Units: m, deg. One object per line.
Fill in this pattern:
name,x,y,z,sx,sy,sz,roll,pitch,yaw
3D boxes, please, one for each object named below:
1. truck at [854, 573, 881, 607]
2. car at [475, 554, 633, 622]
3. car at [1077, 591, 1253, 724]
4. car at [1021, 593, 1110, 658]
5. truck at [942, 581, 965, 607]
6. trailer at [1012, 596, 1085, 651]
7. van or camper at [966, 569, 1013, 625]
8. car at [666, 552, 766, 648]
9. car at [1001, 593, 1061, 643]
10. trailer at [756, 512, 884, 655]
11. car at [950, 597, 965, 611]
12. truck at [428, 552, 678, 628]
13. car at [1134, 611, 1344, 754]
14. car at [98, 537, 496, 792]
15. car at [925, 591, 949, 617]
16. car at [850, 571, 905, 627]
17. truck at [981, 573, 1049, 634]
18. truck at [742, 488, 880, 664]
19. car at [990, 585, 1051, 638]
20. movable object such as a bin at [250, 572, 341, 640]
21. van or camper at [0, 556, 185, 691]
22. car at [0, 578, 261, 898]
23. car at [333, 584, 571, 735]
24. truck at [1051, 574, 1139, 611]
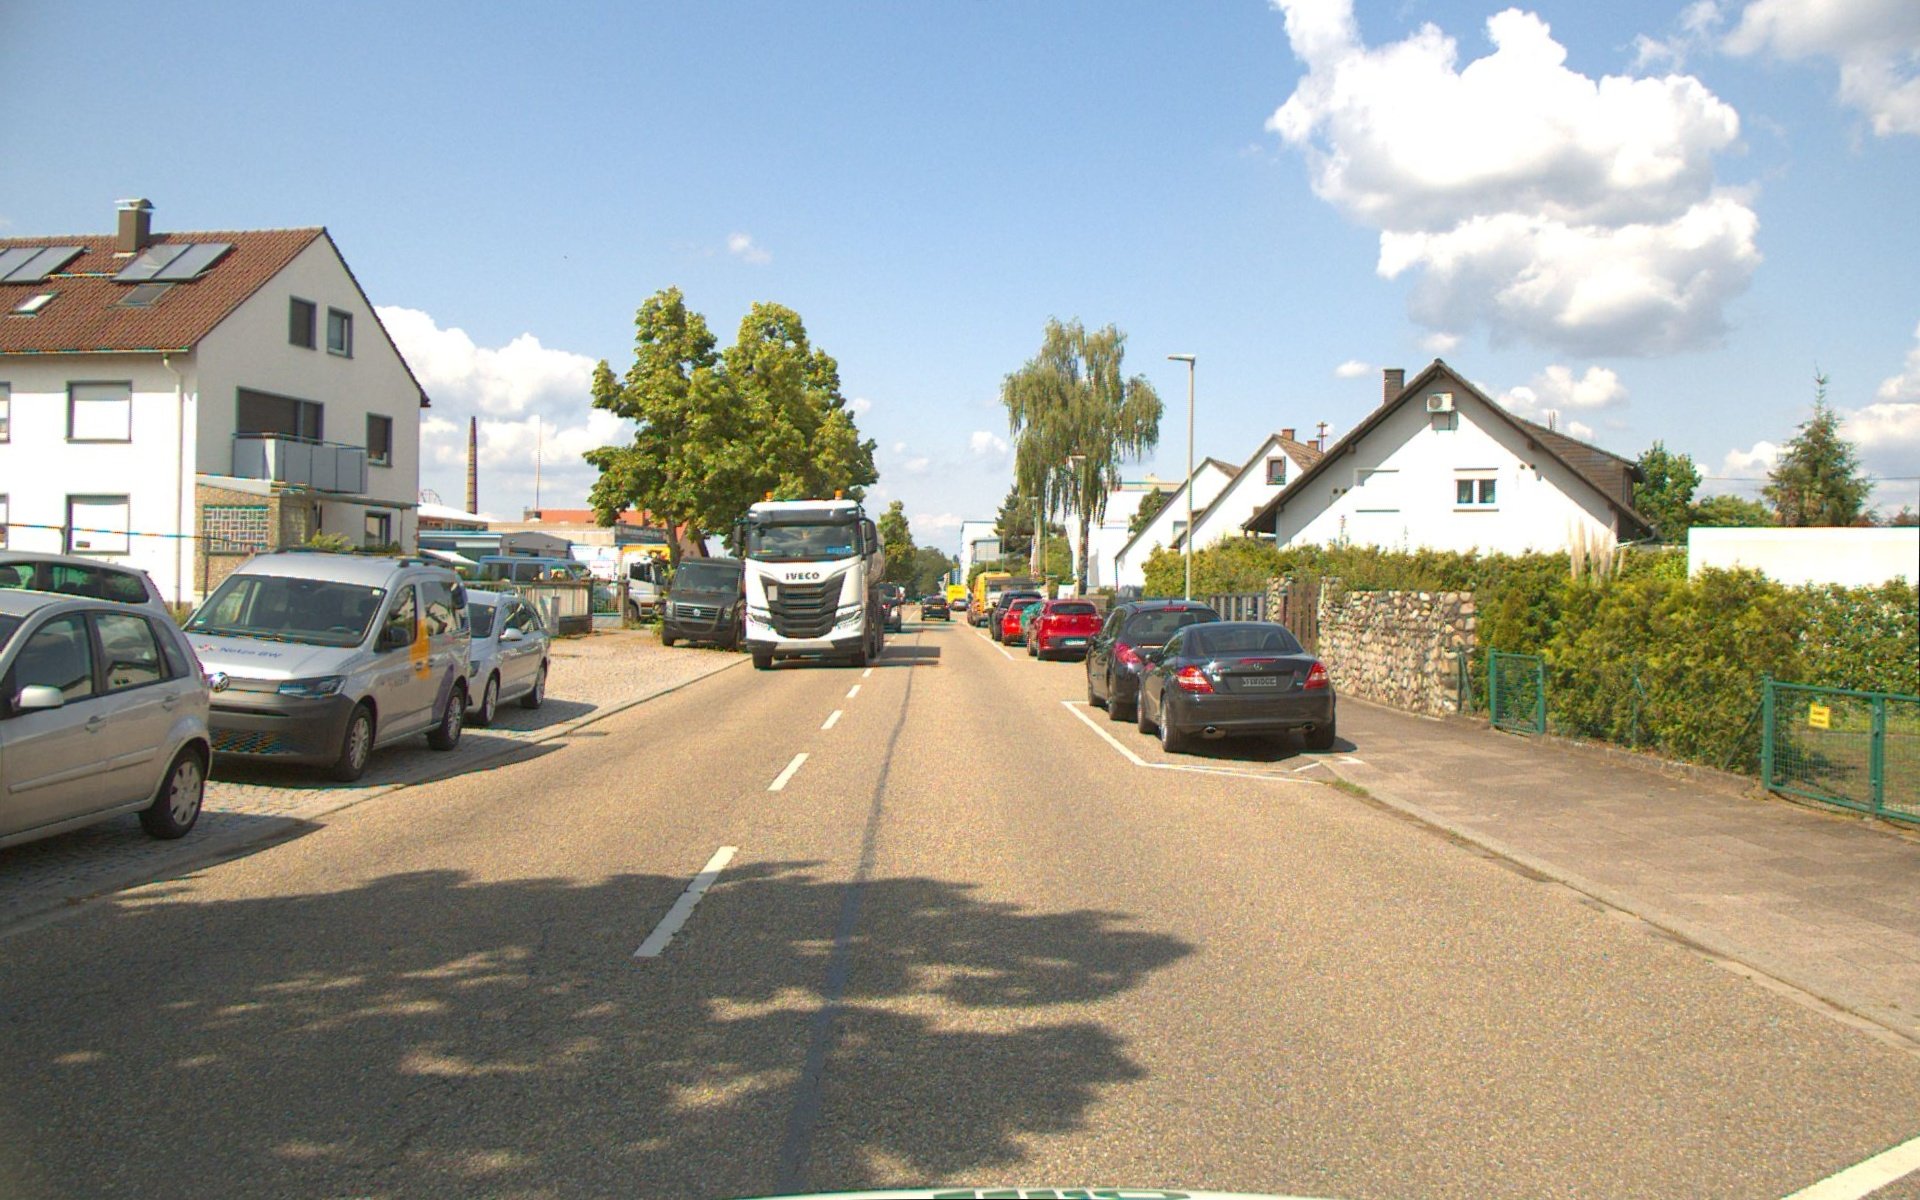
truck,-8.297,-0.904,148.769,2.223,2.904,7.171,2,0,-2
car,-13.984,-0.409,57.077,4.894,2.270,2.002,1,-1,12
car,2.718,0.713,22.787,1.709,1.578,4.120,2,0,-2
car,2.553,0.582,41.067,1.657,1.488,4.753,1,0,-3
truck,-0.862,-0.757,199.920,2.425,2.991,7.185,2,0,-2
trailer,2.404,0.607,45.682,1.576,1.402,4.430,1,0,-2
van or camper,1.451,-0.184,83.741,1.954,2.710,5.766,0,0,-3
car,-6.295,-0.041,43.088,2.126,2.299,3.998,2,1,-3
car,2.161,0.525,51.161,1.650,1.460,4.146,1,0,0
trailer,-3.323,-0.378,40.633,2.778,3.122,8.884,0,0,-3
car,-0.274,0.452,188.303,1.618,1.411,4.422,2,1,-1
truck,-15.834,-0.404,64.703,9.064,2.906,2.722,0,0,3
car,2.975,0.828,18.355,1.675,1.341,3.963,0,1,0
car,-5.688,0.476,14.877,1.773,1.837,4.489,4,0,-2
car,-1.384,0.254,100.712,1.398,1.545,3.017,0,0,0
car,-3.188,-0.054,64.781,2.009,2.070,5.140,-1,0,-1
truck,2.172,0.134,66.705,2.471,2.339,5.894,0,0,-1
truck,-3.158,-0.507,36.491,2.717,3.560,5.879,0,0,-2
car,2.002,0.349,55.918,1.792,1.691,4.553,1,0,-1
movable object such as a bin,-16.081,0.133,40.090,1.281,1.456,1.605,1,7,15
van or camper,-11.678,0.247,19.818,1.745,1.570,3.987,2,0,34
car,-5.481,0.664,8.993,1.590,1.494,3.925,4,0,0
car,-6.195,0.639,20.740,1.714,1.486,4.706,4,1,-4
truck,9.792,-0.575,120.065,5.968,2.622,2.544,0,1,-27
